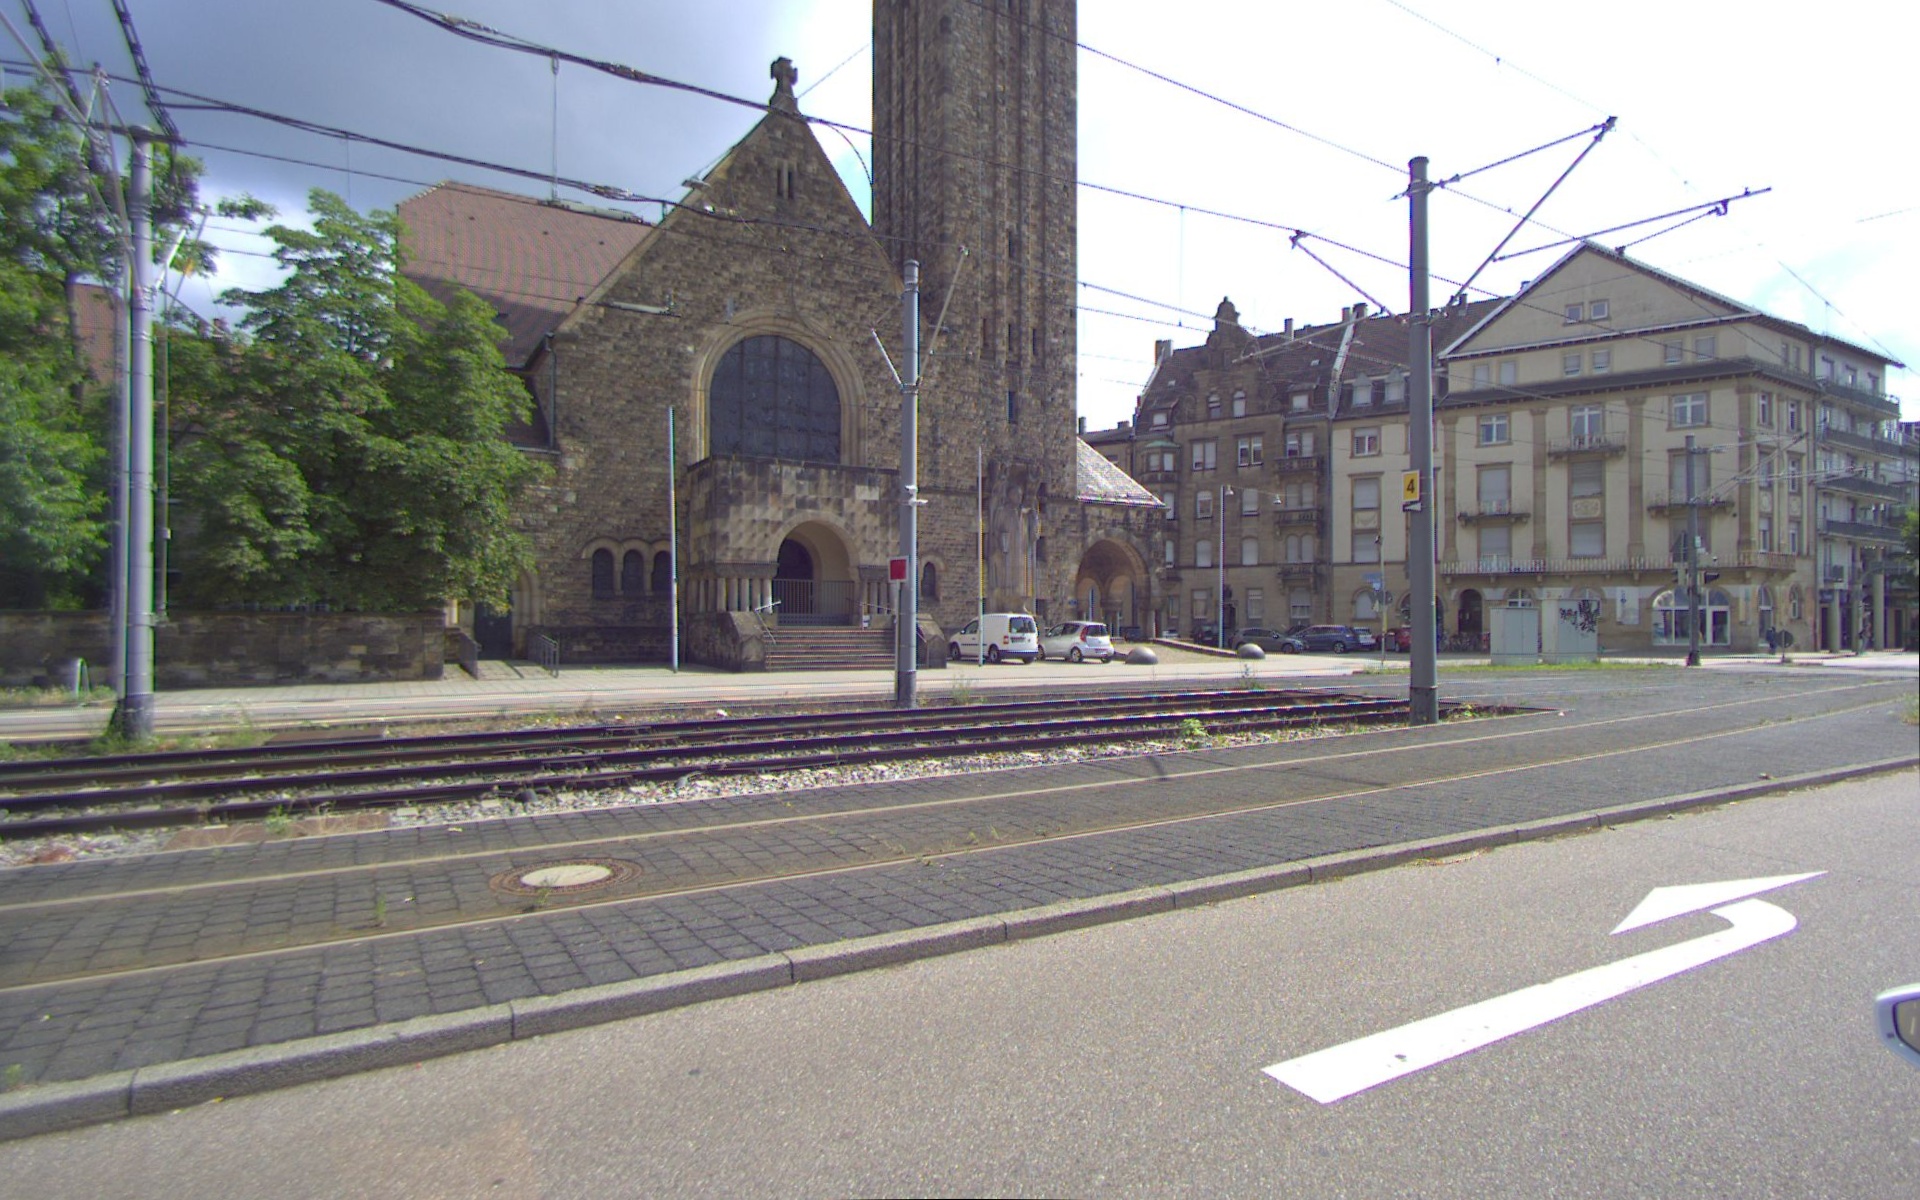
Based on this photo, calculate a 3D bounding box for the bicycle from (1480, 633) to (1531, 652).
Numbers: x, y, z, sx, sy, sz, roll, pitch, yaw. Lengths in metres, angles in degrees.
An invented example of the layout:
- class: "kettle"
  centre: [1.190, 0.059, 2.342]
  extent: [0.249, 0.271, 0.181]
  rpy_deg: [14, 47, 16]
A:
- class: "bicycle"
  centre: [31.582, 2.446, 58.174]
  extent: [2.522, 1.067, 0.681]
  rpy_deg: [-1, -2, 33]

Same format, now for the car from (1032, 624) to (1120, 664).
- class: "car"
  centre: [4.531, 1.697, 39.515]
  extent: [1.834, 1.522, 3.248]
  rpy_deg: [1, -2, -32]

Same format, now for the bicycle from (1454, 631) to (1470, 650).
- class: "bicycle"
  centre: [30.653, 2.462, 61.325]
  extent: [0.729, 1.067, 2.360]
  rpy_deg: [-1, -2, 30]

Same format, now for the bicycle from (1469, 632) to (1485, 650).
- class: "bicycle"
  centre: [31.140, 2.461, 60.533]
  extent: [0.729, 1.067, 2.561]
  rpy_deg: [-1, -2, 30]

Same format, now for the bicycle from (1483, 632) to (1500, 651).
- class: "bicycle"
  centre: [31.806, 2.467, 60.067]
  extent: [0.792, 1.067, 2.561]
  rpy_deg: [-1, -2, 30]

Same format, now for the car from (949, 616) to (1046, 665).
- class: "car"
  centre: [1.376, 1.516, 38.508]
  extent: [1.875, 1.772, 3.848]
  rpy_deg: [1, -2, -33]

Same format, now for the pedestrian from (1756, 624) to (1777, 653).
- class: "pedestrian"
  centre: [44.553, 2.125, 55.507]
  extent: [0.853, 1.617, 0.687]
  rpy_deg: [1, -1, -34]

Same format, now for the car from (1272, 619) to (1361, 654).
- class: "car"
  centre: [21.547, 2.208, 60.703]
  extent: [4.726, 2.040, 1.994]
  rpy_deg: [-1, -2, 35]

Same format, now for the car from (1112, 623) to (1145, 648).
- class: "car"
  centre: [12.127, 2.553, 72.594]
  extent: [1.753, 1.750, 4.001]
  rpy_deg: [0, -1, 0]

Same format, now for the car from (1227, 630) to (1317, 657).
- class: "car"
  centre: [17.494, 2.437, 56.417]
  extent: [4.497, 1.455, 1.700]
  rpy_deg: [-1, -2, 37]

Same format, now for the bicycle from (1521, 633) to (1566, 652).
- class: "bicycle"
  centre: [34.005, 2.477, 58.547]
  extent: [2.526, 1.067, 0.803]
  rpy_deg: [0, -1, -19]

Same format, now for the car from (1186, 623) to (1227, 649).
- class: "car"
  centre: [16.929, 2.464, 69.167]
  extent: [1.850, 1.782, 4.001]
  rpy_deg: [0, -1, 0]

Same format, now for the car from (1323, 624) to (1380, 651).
- class: "car"
  centre: [24.867, 2.356, 63.945]
  extent: [1.768, 1.661, 3.997]
  rpy_deg: [0, -1, -6]

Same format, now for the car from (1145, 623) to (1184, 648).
- class: "car"
  centre: [14.419, 2.497, 71.011]
  extent: [1.960, 1.760, 4.001]
  rpy_deg: [0, -1, 0]

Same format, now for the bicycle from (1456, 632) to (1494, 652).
- class: "bicycle"
  centre: [29.885, 2.421, 58.333]
  extent: [1.939, 1.129, 0.487]
  rpy_deg: [-1, -1, 24]

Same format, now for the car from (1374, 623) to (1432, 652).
- class: "car"
  centre: [27.245, 2.299, 61.907]
  extent: [1.960, 1.696, 4.002]
  rpy_deg: [0, -1, 2]

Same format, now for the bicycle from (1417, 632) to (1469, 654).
- class: "bicycle"
  centre: [29.152, 2.565, 60.690]
  extent: [0.982, 1.270, 3.312]
  rpy_deg: [0, -2, -14]

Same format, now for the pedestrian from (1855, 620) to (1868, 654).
- class: "pedestrian"
  centre: [55.376, 2.272, 61.690]
  extent: [0.415, 2.040, 0.474]
  rpy_deg: [1, -1, -35]
